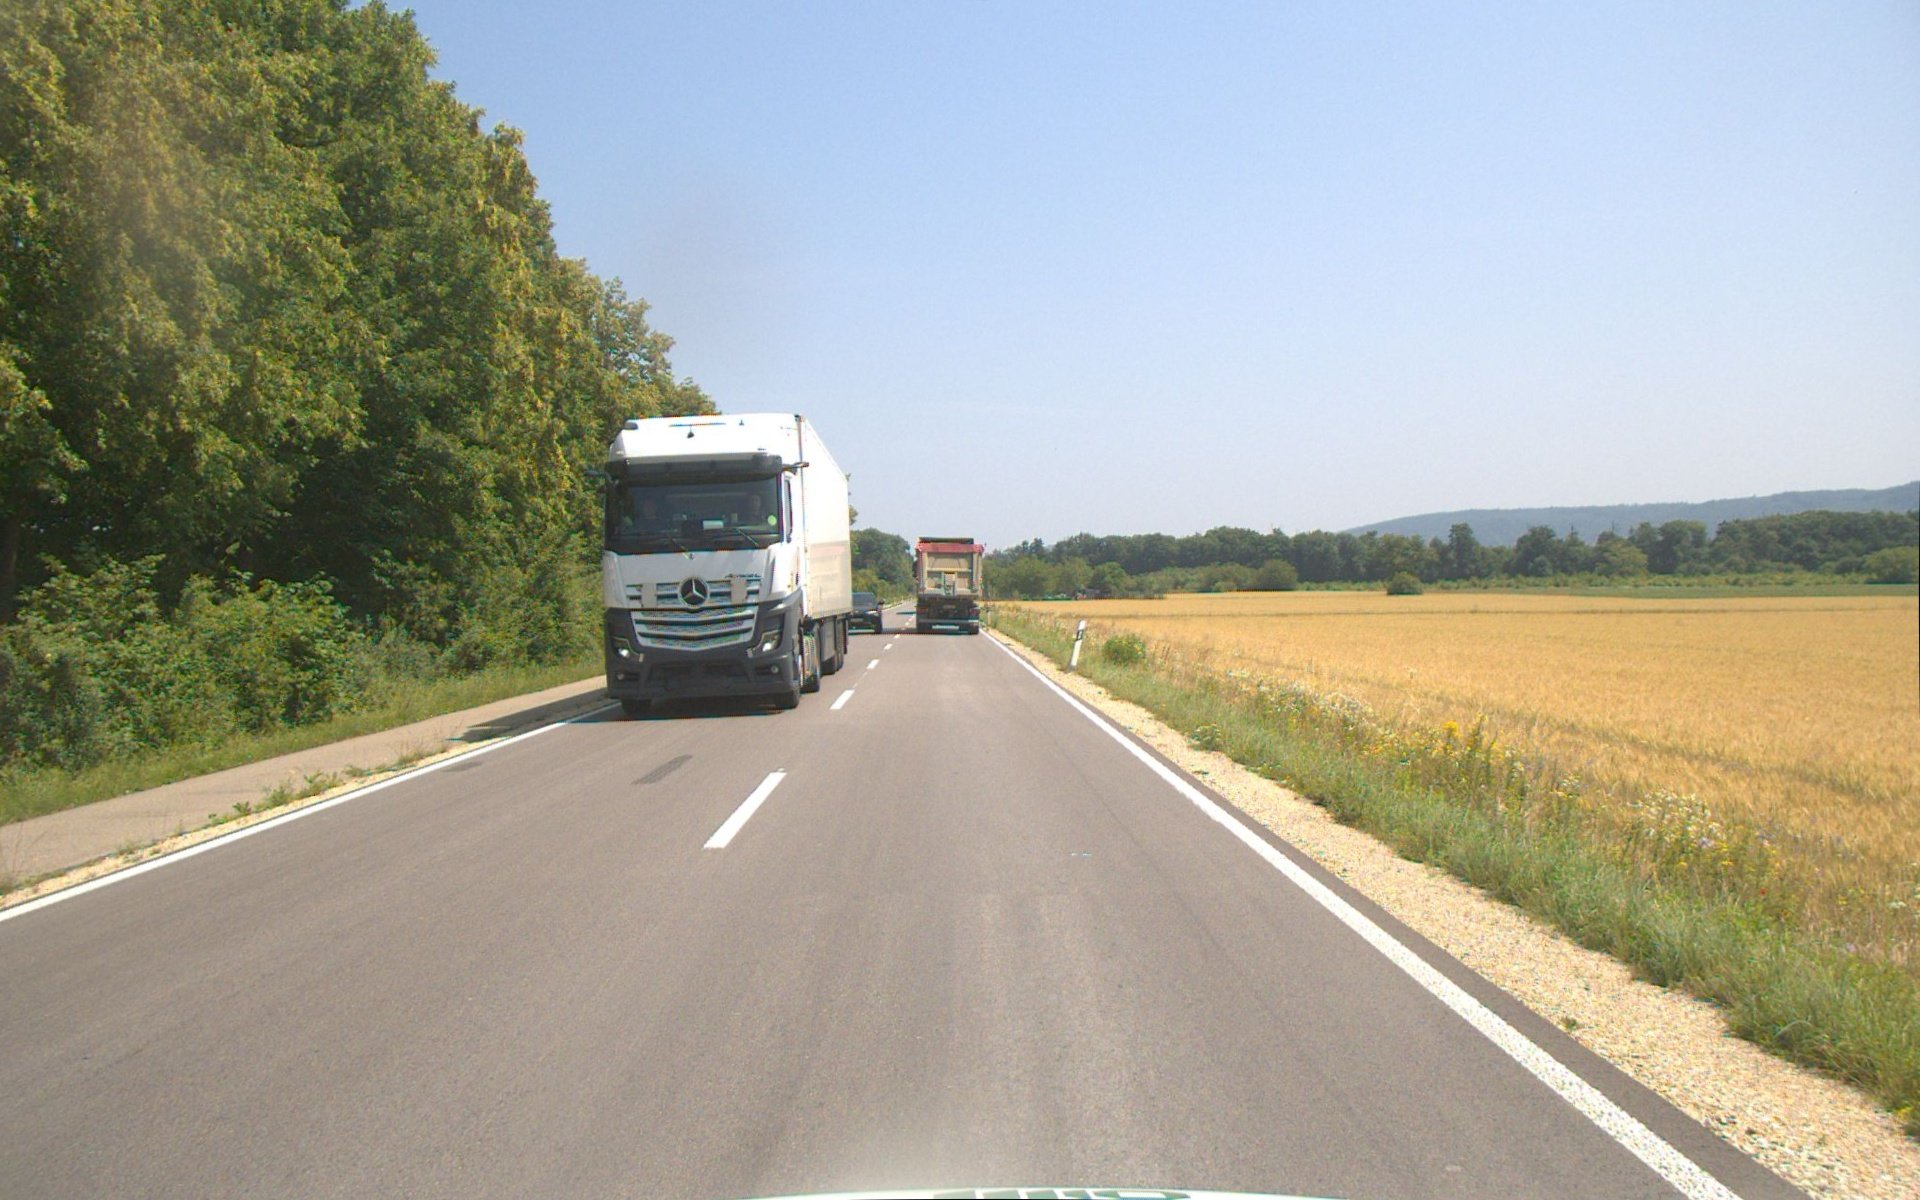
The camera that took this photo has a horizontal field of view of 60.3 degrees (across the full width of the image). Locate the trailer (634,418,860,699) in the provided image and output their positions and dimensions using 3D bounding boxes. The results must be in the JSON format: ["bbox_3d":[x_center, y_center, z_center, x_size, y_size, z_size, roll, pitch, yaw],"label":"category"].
[{"bbox_3d":[-3.530,-0.643,30.979,2.599,4.046,13.351,-2,0,-1],"label":"trailer"}]

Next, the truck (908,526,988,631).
[{"bbox_3d":[-0.537,-0.783,68.516,2.948,3.942,12.206,1,0,-1],"label":"truck"}]

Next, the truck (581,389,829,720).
[{"bbox_3d":[-3.410,-0.585,23.538,2.602,4.046,5.726,-2,0,-1],"label":"truck"}]

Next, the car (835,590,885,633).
[{"bbox_3d":[-3.951,0.445,65.844,1.756,1.601,4.478,-2,0,-1],"label":"car"}]
